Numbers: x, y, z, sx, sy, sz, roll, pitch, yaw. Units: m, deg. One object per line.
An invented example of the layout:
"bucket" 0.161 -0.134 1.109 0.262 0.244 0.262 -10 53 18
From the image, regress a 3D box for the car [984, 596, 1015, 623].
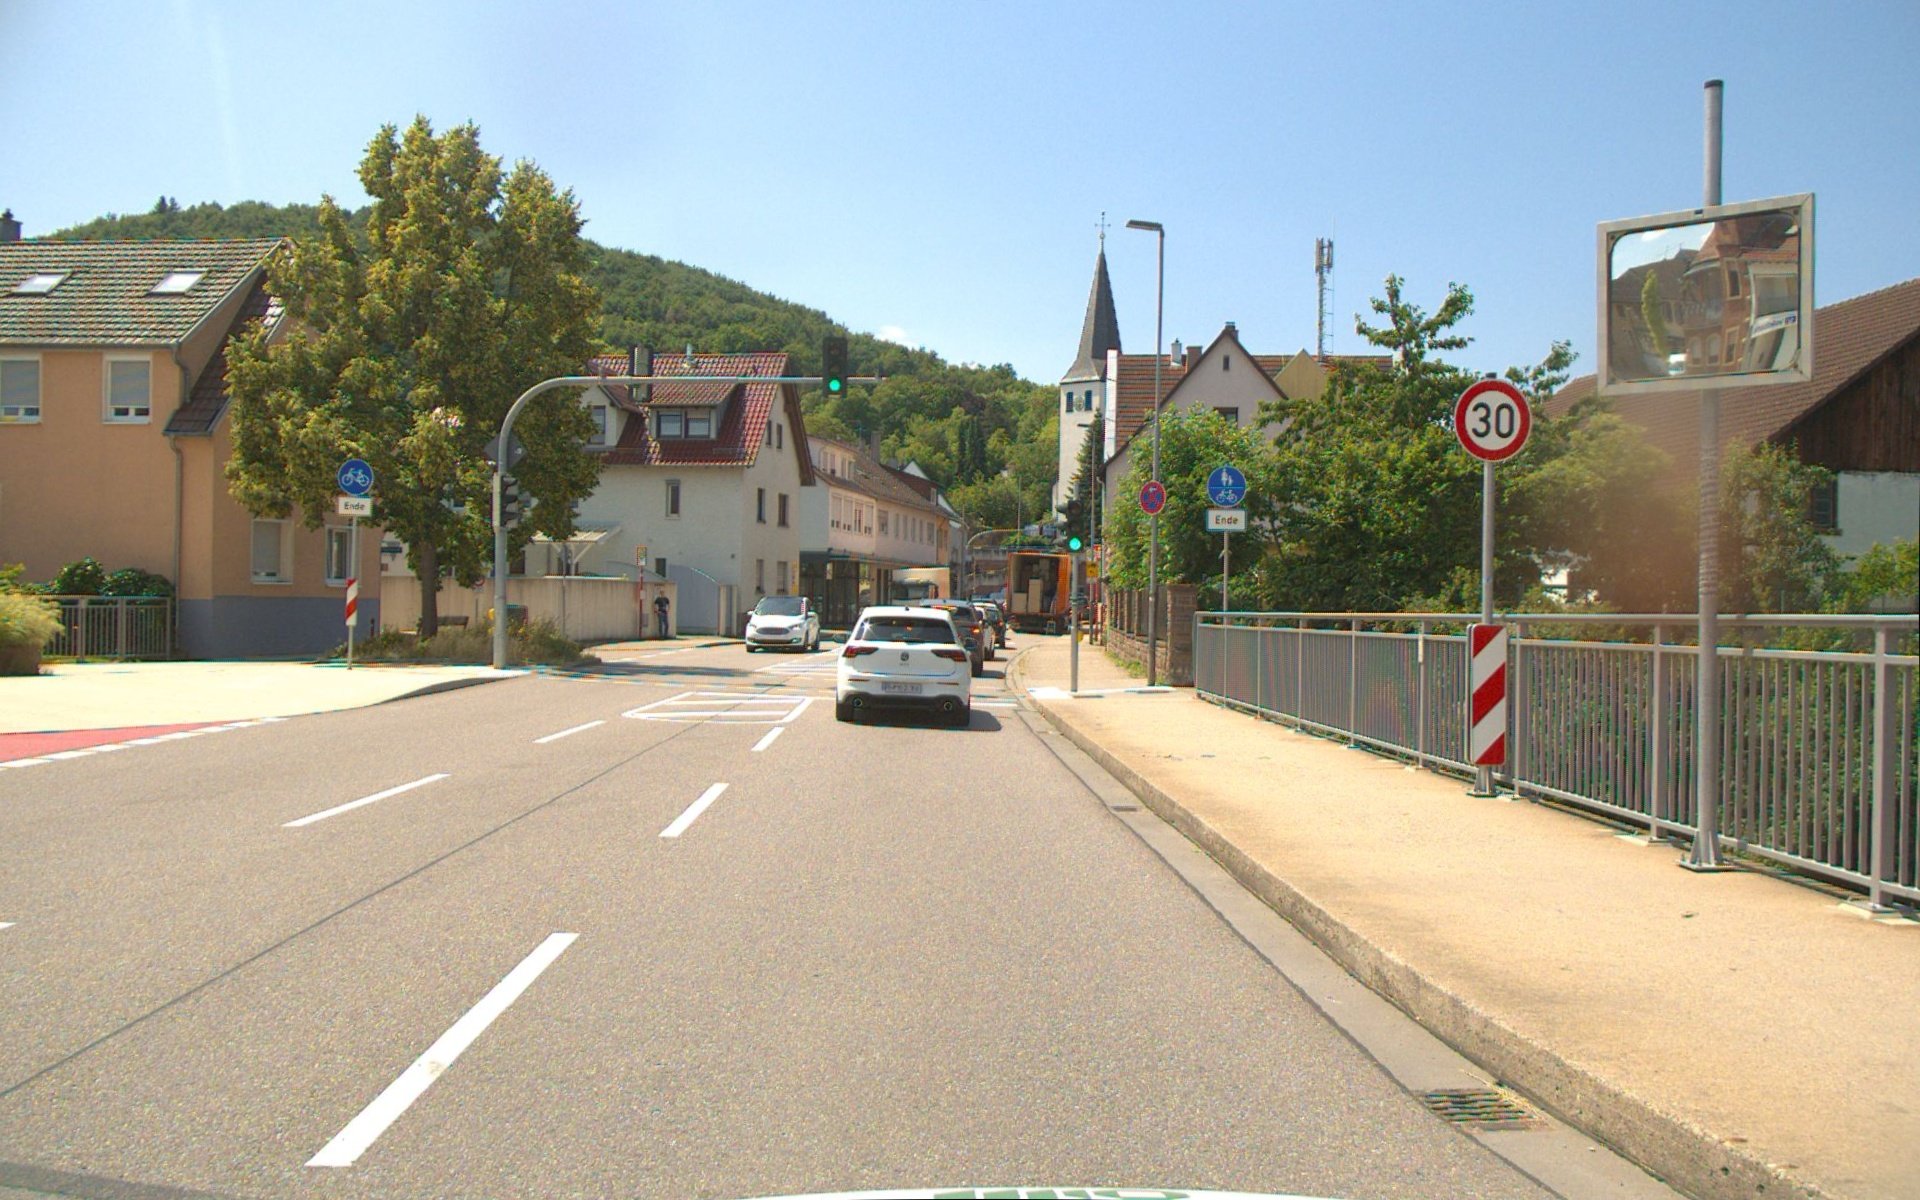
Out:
"car" 2.372 0.596 97.827 1.777 1.546 4.001 0 -1 2

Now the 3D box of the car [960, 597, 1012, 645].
"car" 0.967 0.769 59.996 1.777 1.657 4.001 0 -1 2

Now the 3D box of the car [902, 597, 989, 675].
"car" -0.279 0.802 37.369 1.777 1.657 4.001 0 -1 2

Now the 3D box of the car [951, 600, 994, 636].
"car" 0.583 0.793 73.703 1.777 1.546 4.001 0 -1 2

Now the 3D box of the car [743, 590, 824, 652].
"car" -5.179 0.623 49.026 1.777 1.678 4.001 2 -1 2

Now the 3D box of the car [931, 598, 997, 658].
"car" 0.156 0.799 47.881 1.777 1.657 4.001 0 -1 2

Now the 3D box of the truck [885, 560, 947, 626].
"truck" -2.226 -0.327 86.265 2.449 3.292 6.044 0 -1 6

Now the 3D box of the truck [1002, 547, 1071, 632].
"truck" 4.133 -0.473 87.170 3.296 4.243 9.523 0 -1 5

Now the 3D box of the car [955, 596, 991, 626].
"car" 0.707 0.585 87.101 1.777 1.546 4.001 0 -1 2

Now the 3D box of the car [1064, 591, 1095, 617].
"car" 7.373 0.282 102.136 1.777 1.546 4.001 0 -1 2

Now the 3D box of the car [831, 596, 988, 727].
"car" -0.581 0.774 22.223 1.777 1.545 4.001 2 -1 2

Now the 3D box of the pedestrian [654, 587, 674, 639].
"pedestrian" -10.324 0.444 57.667 0.425 1.795 0.557 0 0 21
